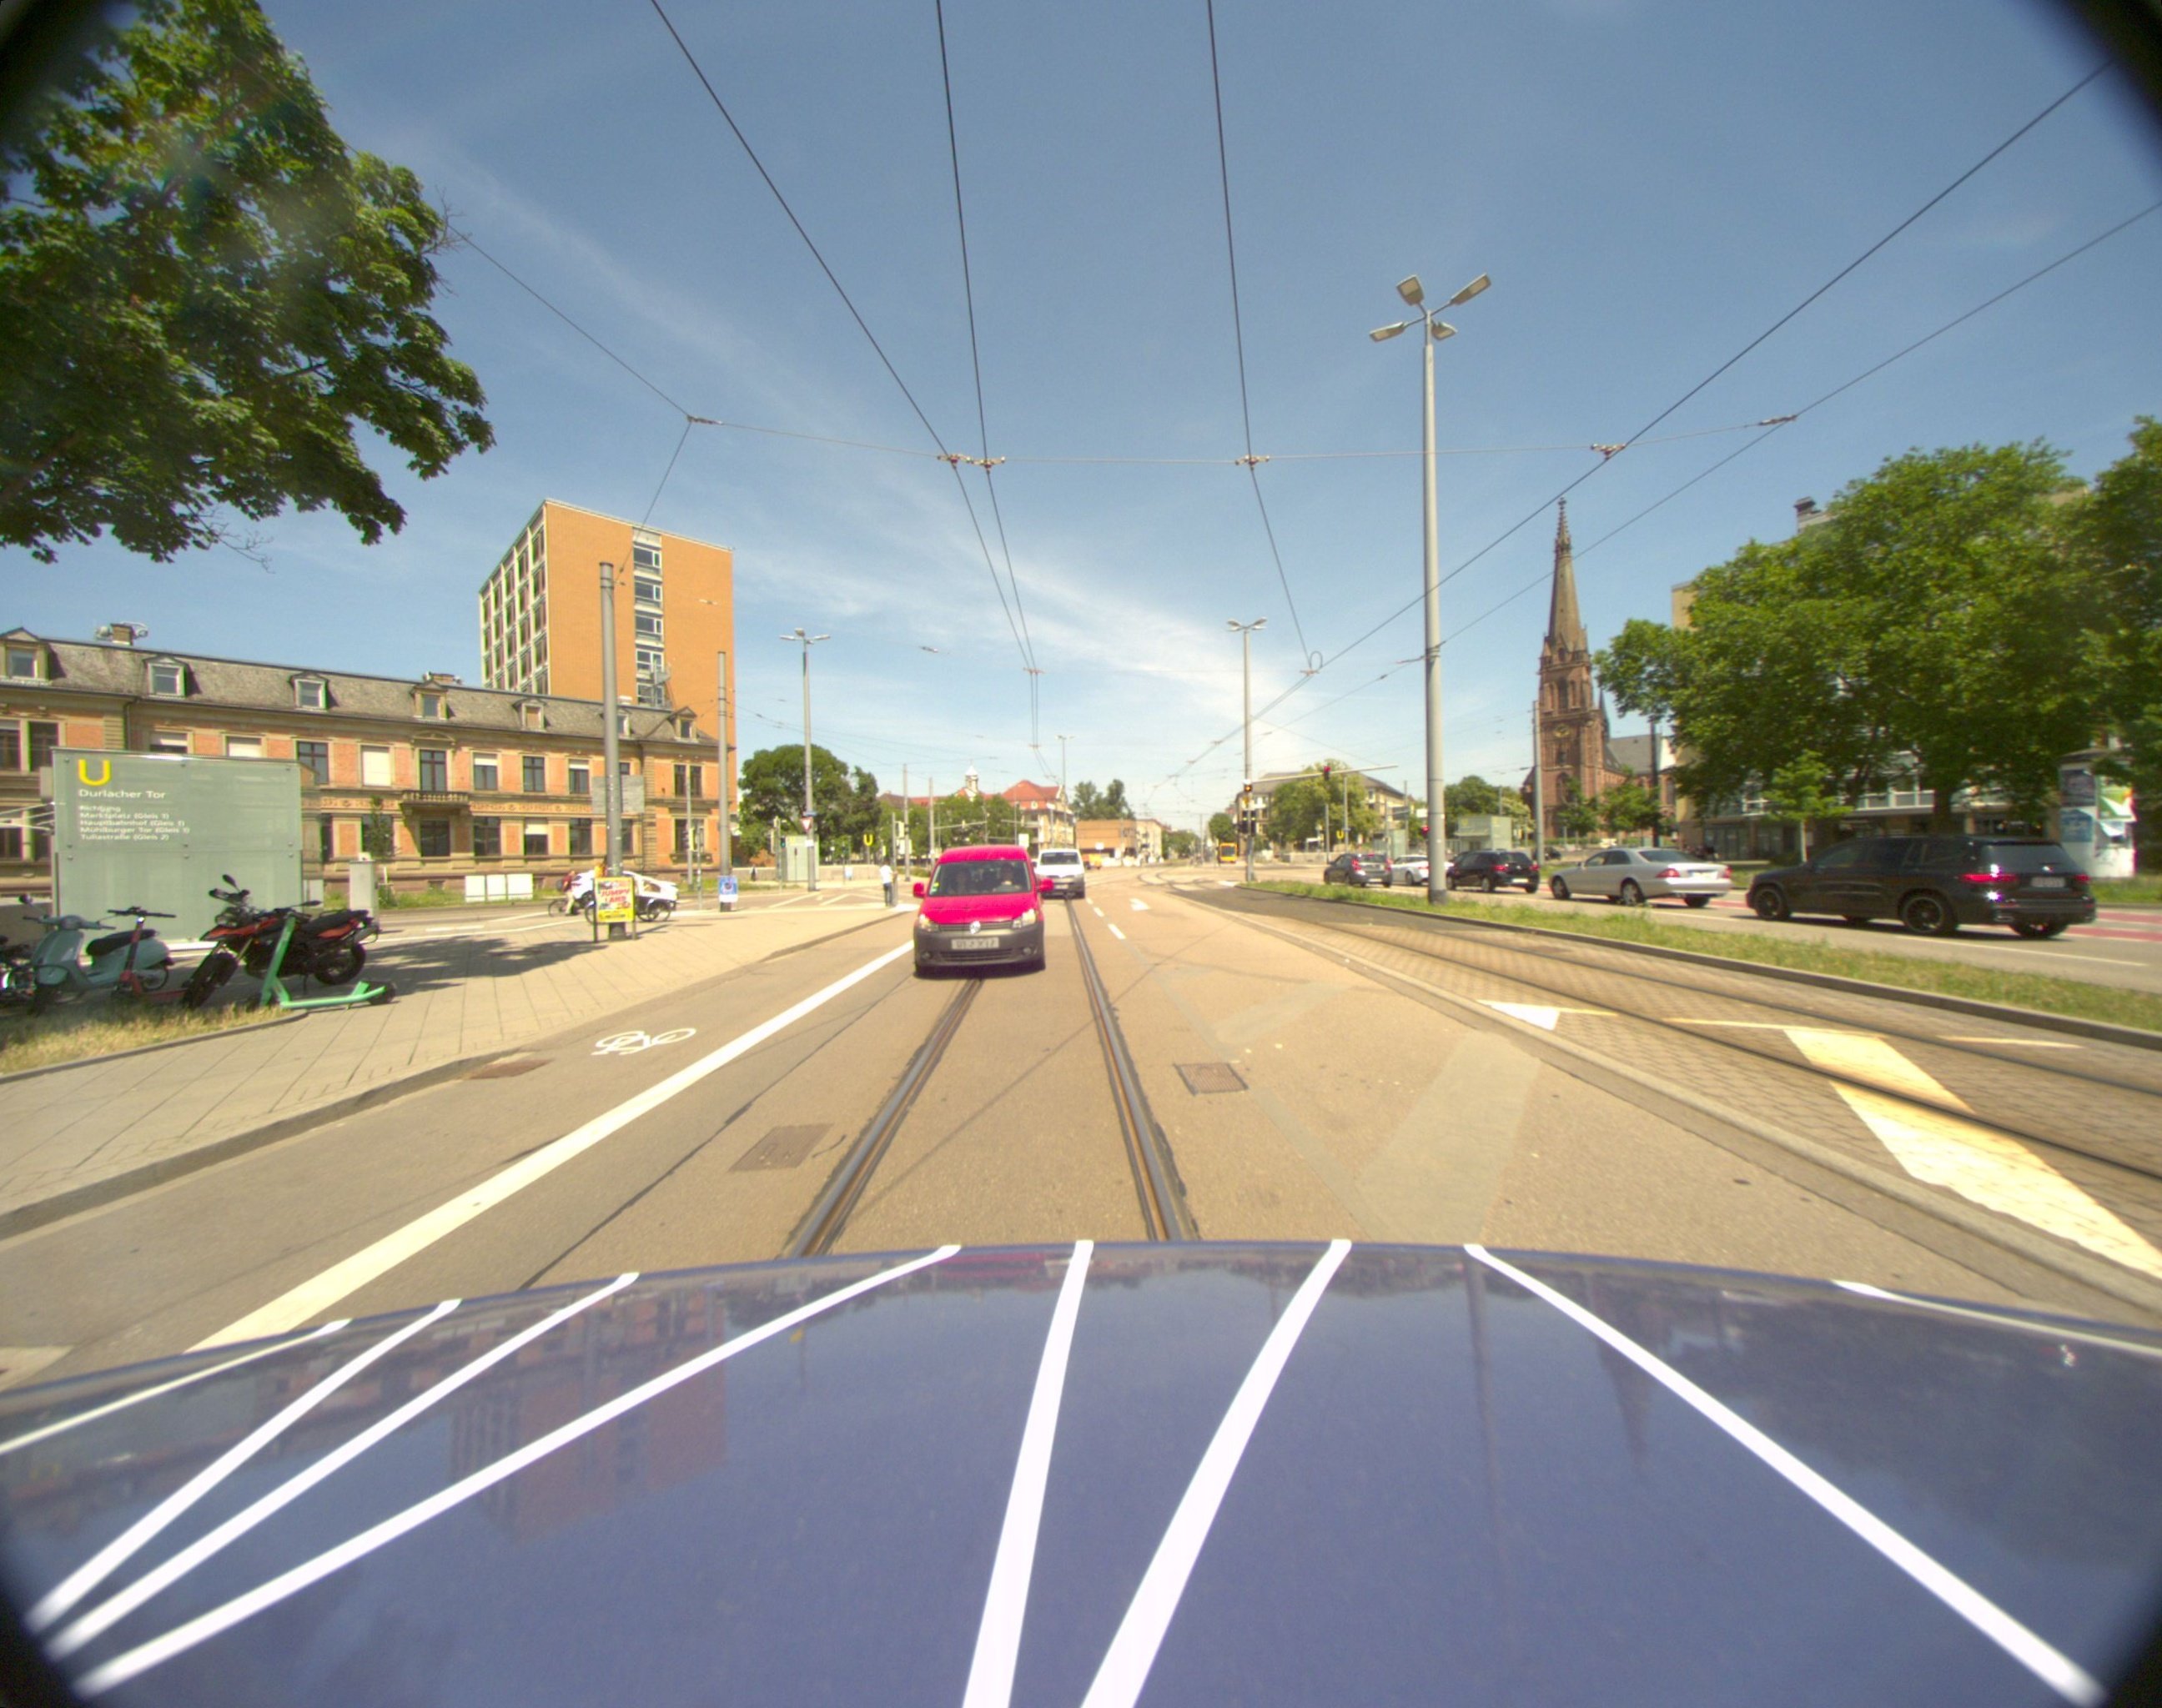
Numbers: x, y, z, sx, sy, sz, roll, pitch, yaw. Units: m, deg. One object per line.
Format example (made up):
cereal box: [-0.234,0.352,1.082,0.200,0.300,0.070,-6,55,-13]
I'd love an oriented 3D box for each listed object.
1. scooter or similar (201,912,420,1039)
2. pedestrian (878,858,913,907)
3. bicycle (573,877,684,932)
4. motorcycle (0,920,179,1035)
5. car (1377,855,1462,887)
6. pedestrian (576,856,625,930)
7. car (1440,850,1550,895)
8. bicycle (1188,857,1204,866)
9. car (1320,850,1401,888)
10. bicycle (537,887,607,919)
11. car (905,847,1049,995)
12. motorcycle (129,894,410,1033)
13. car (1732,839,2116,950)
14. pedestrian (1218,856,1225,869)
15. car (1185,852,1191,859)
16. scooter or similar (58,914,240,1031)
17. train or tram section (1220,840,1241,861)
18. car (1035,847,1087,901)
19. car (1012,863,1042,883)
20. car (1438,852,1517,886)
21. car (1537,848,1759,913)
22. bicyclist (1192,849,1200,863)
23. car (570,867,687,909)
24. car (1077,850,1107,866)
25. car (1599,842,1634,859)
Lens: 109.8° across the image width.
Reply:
scooter or similar: [-8.352,1.274,8.335,1.527,1.149,0.713,-1,0,-30]
pedestrian: [-6.939,1.048,28.441,0.808,1.769,0.876,-1,1,31]
bicycle: [-11.587,1.244,19.518,1.096,1.243,2.225,-1,0,45]
motorcycle: [-12.050,1.409,8.966,0.692,1.090,1.747,-1,1,-1]
car: [14.653,0.699,33.165,1.711,1.291,4.202,0,0,-2]
pedestrian: [-12.055,0.950,19.053,0.812,1.765,0.826,0,2,45]
car: [14.479,0.608,26.801,1.675,1.453,3.903,0,0,-2]
bicycle: [13.883,0.909,91.780,1.906,0.973,0.528,-1,0,-6]
car: [11.677,0.609,32.061,1.848,1.471,4.330,0,0,0]
bicycle: [-18.258,1.738,27.285,2.023,0.999,0.724,-1,0,-36]
car: [-1.525,0.844,11.657,1.756,1.802,4.095,-2,0,-6]
motorcycle: [-10.084,1.276,9.673,0.766,1.354,2.595,-1,1,-1]
car: [14.305,0.591,13.414,1.826,1.617,4.525,0,0,2]
pedestrian: [17.083,1.036,92.503,0.657,1.661,0.449,-2,1,-17]
car: [27.398,0.340,194.831,1.439,1.586,4.002,-1,0,8]
scooter or similar: [-11.133,1.374,9.153,0.602,1.145,1.378,-1,1,-11]
train or tram section: [23.836,-0.579,121.651,2.840,3.195,9.115,-1,0,8]
car: [-0.779,0.741,30.302,1.874,1.954,3.823,-2,0,-1]
car: [-3.989,1.345,55.758,1.573,1.346,3.455,-1,0,-13]
car: [19.657,0.722,37.871,1.538,1.588,4.399,0,0,-2]
car: [14.805,0.611,20.337,1.999,1.521,5.130,0,0,-1]
bicyclist: [13.866,0.229,91.846,0.813,1.678,0.528,-1,1,-6]
car: [-19.919,1.442,33.526,4.184,1.596,1.703,-1,0,-40]
car: [1.429,0.553,100.522,2.003,2.002,4.586,-2,0,-26]
car: [39.860,-0.243,56.549,1.986,1.148,0.503,-4,0,16]
